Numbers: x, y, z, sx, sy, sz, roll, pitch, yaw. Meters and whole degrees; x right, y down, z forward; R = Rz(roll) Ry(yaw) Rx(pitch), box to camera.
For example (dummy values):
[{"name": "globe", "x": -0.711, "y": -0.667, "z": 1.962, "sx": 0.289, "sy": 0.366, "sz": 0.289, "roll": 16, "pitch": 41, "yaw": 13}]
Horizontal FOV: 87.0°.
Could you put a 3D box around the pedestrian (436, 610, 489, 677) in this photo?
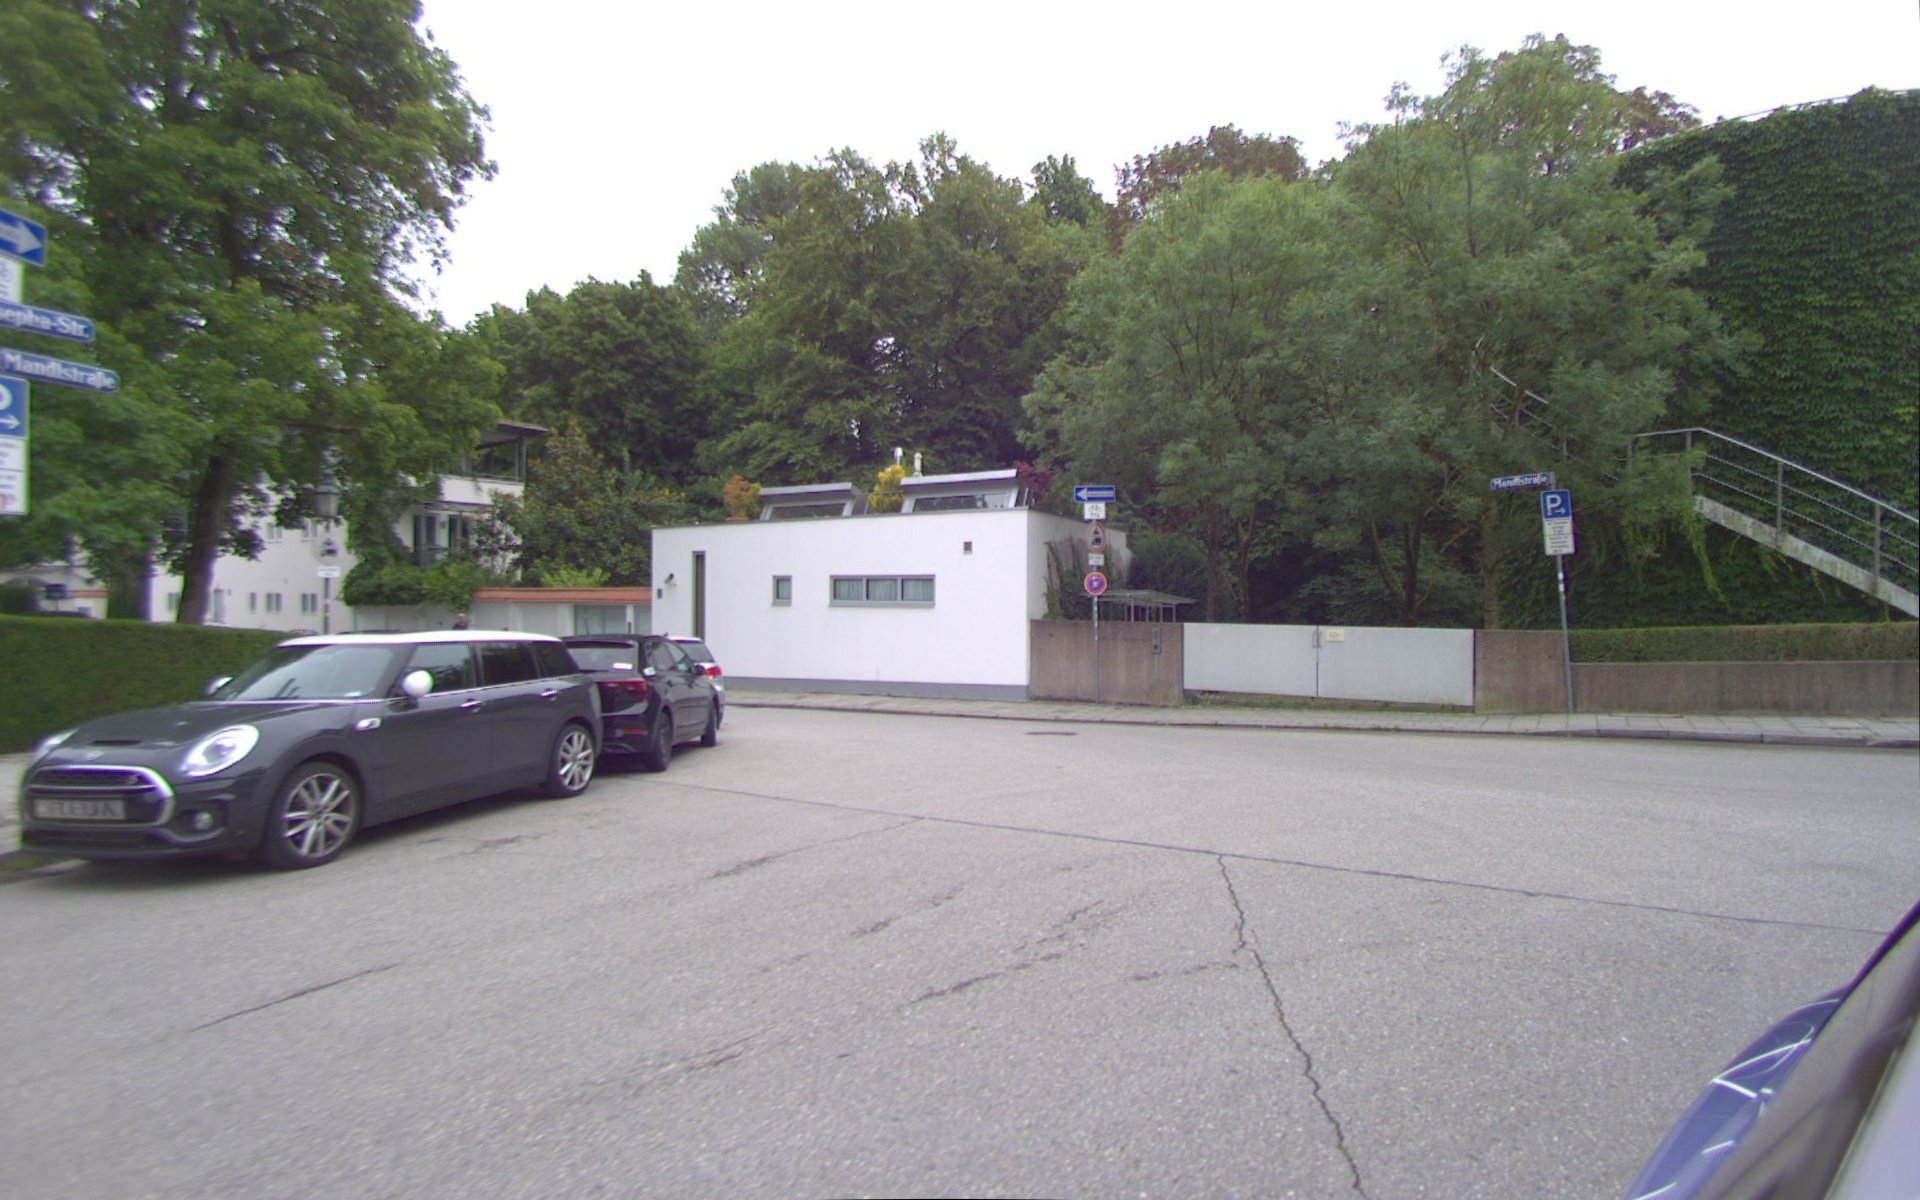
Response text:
[{"name": "pedestrian", "x": -14.951, "y": 1.279, "z": 30.426, "sx": 1.222, "sy": 1.956, "sz": 0.941, "roll": -1, "pitch": -1, "yaw": 32}]

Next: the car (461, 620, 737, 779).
[{"name": "car", "x": -3.946, "y": 1.040, "z": 11.815, "sx": 1.861, "sy": 1.465, "sz": 4.014, "roll": -2, "pitch": -2, "yaw": -2}]

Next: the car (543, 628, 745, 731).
[{"name": "car", "x": -5.260, "y": 1.223, "z": 16.520, "sx": 1.905, "sy": 1.465, "sz": 4.011, "roll": 2, "pitch": -3, "yaw": -37}]

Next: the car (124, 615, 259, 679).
[{"name": "car", "x": -22.246, "y": 1.297, "z": 29.270, "sx": 3.985, "sy": 1.684, "sz": 1.918, "roll": 0, "pitch": -1, "yaw": 33}]

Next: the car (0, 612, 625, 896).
[{"name": "car", "x": -4.473, "y": 0.883, "z": 7.533, "sx": 1.868, "sy": 1.465, "sz": 4.251, "roll": -2, "pitch": -2, "yaw": 12}]

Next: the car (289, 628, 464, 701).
[{"name": "car", "x": -13.442, "y": 1.423, "z": 23.287, "sx": 3.985, "sy": 1.465, "sz": 1.918, "roll": 0, "pitch": -1, "yaw": 33}]
